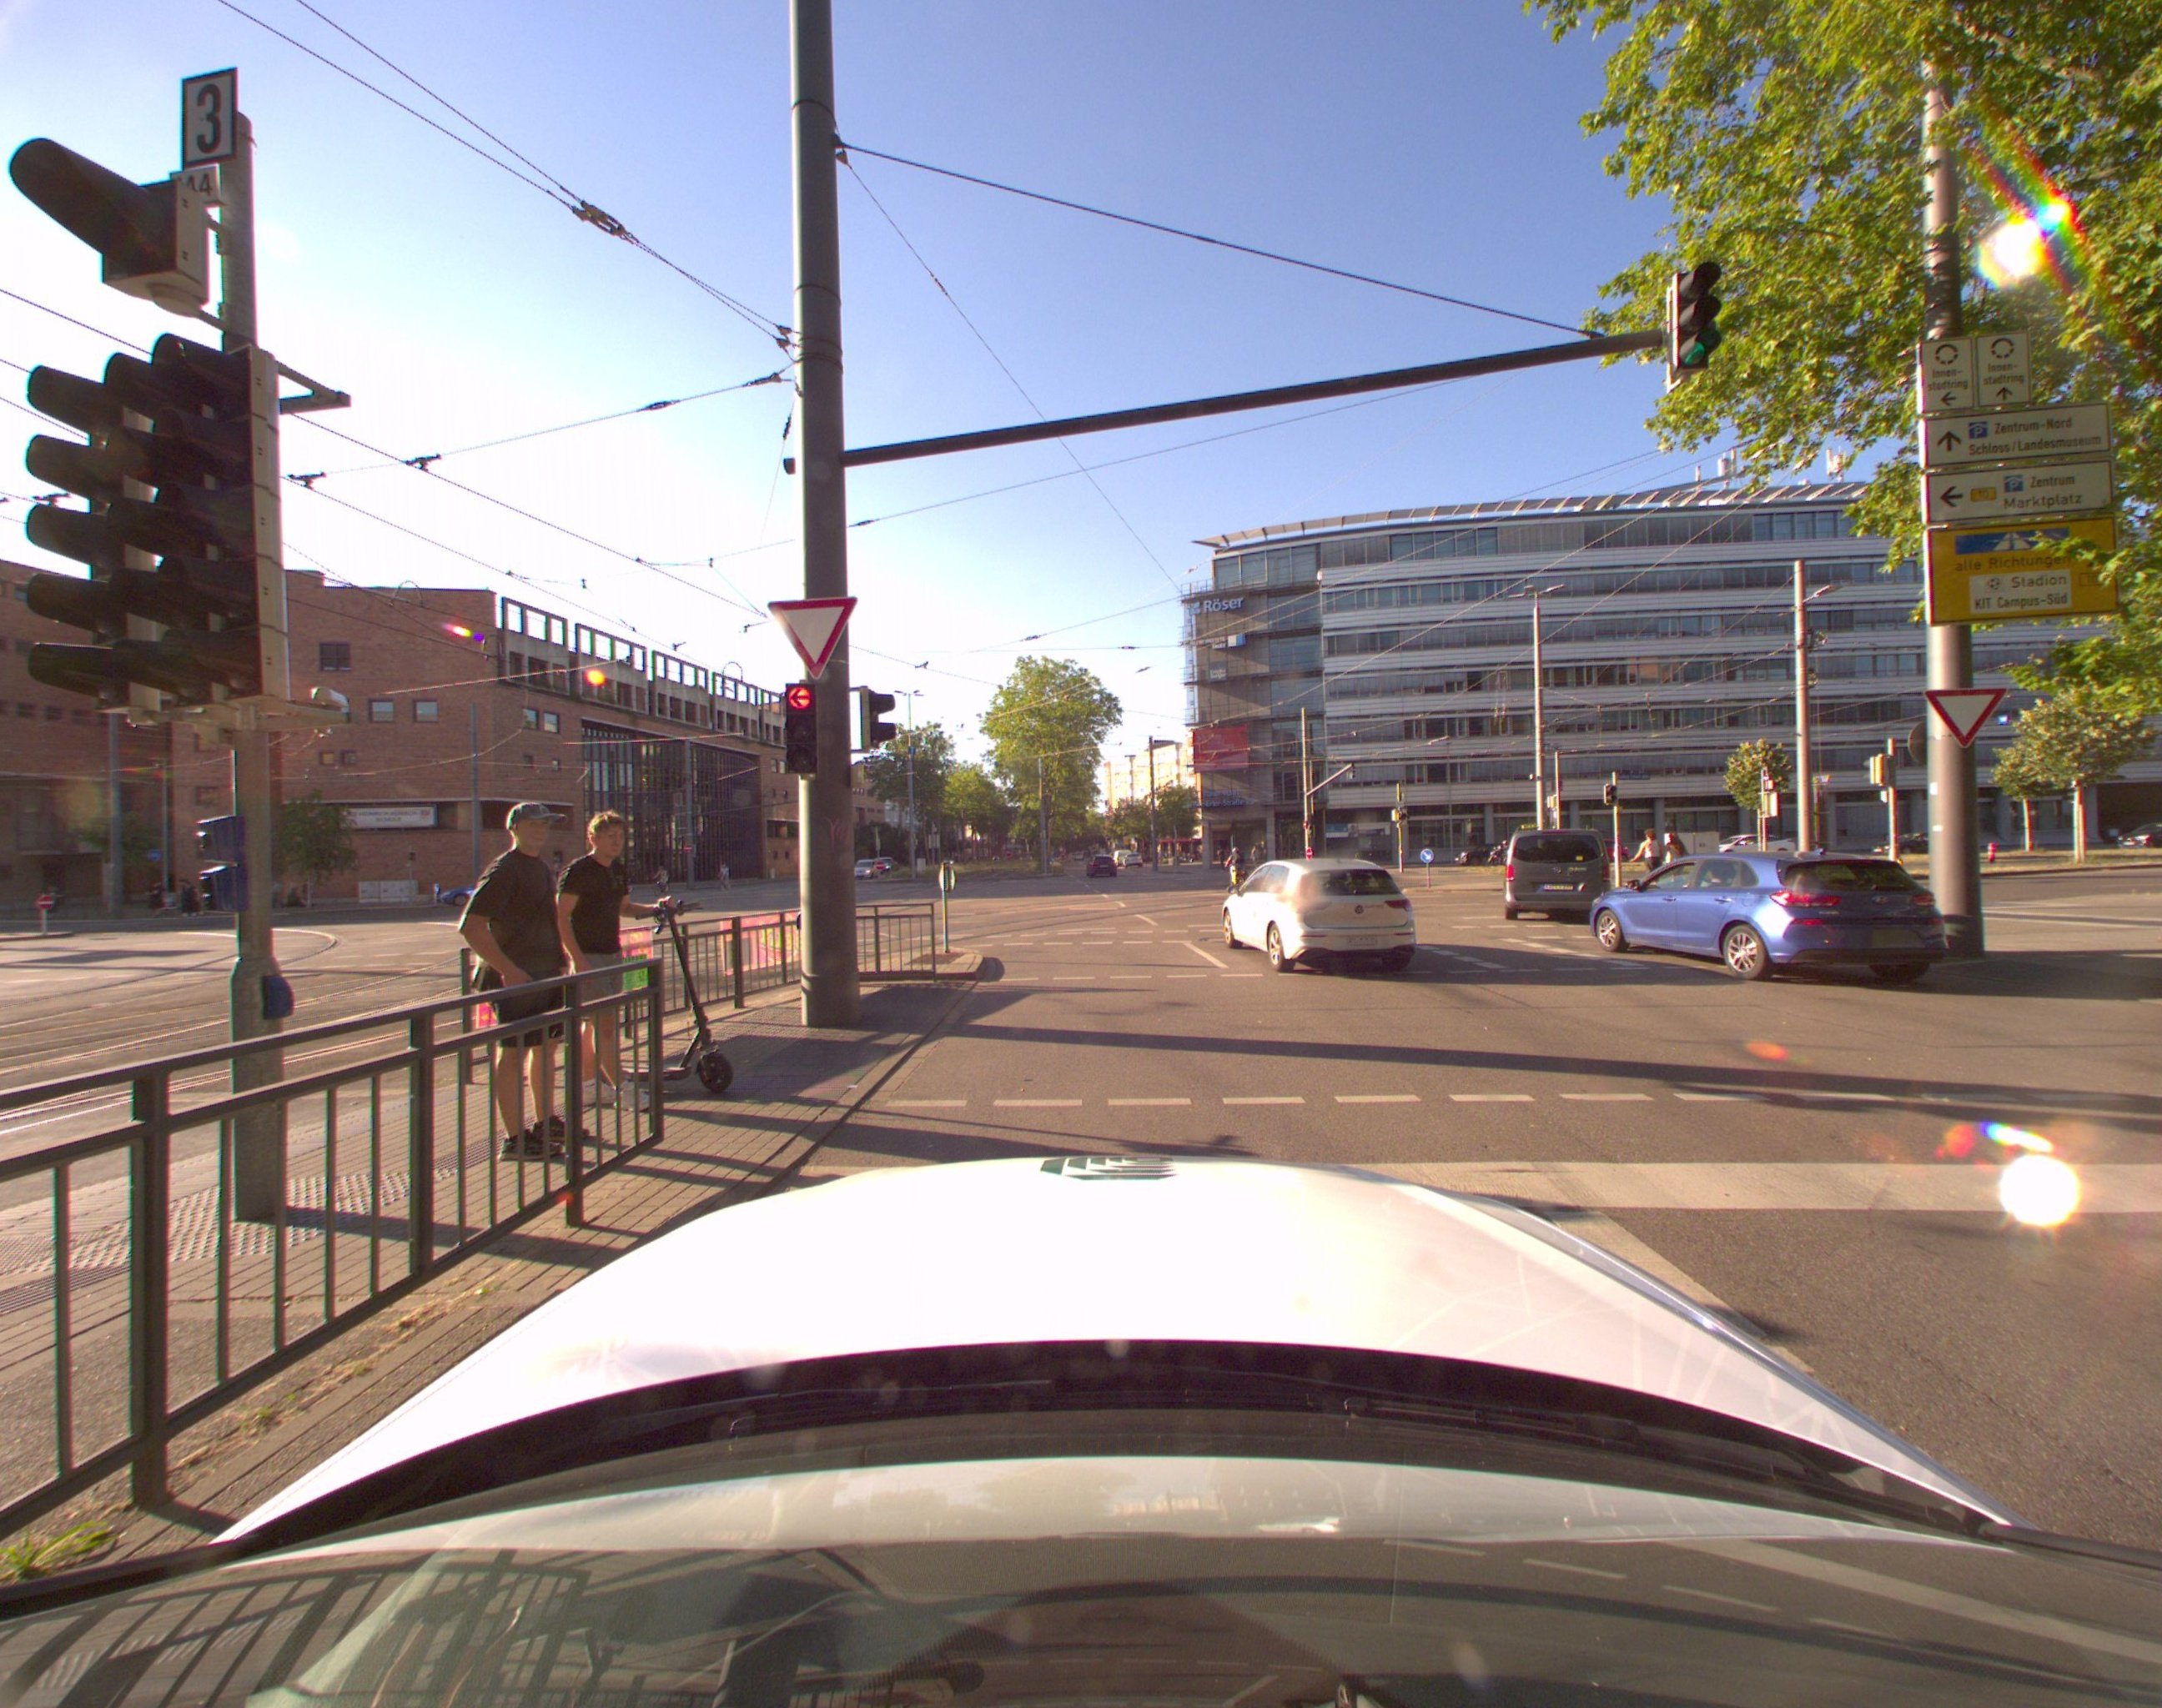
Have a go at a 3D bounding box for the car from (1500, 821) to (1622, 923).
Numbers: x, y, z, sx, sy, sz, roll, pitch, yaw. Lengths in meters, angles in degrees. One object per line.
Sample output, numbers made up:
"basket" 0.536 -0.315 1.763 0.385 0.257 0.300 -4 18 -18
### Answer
"car" 10.310 0.317 17.741 1.982 1.896 4.912 -1 0 28

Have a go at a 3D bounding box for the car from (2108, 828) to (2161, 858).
"car" 60.462 -0.600 45.288 4.097 1.596 1.884 0 -1 5

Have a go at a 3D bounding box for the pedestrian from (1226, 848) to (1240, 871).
"pedestrian" 11.483 0.410 61.532 0.866 1.707 0.794 0 -1 1

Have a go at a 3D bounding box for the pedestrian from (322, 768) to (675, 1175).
"pedestrian" -2.968 0.563 4.257 1.161 1.884 0.856 -2 0 6

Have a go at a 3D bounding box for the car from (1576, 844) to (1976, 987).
"car" 8.427 0.632 10.492 1.740 1.459 4.216 -1 0 4

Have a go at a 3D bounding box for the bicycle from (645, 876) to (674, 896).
"bicycle" -23.747 1.785 45.956 0.650 1.050 2.010 -1 0 -3

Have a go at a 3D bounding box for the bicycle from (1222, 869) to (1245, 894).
"bicycle" 5.336 0.959 28.521 0.489 0.788 1.862 -1 0 2

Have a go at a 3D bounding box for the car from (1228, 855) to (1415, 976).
"car" 3.231 0.739 11.750 1.740 1.418 4.004 -1 0 4

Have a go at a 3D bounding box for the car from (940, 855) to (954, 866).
"car" -20.296 1.046 123.320 1.673 1.607 3.994 0 -1 -4

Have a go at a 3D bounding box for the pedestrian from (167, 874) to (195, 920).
"pedestrian" -40.865 1.931 36.984 0.615 2.013 0.726 -2 0 -28

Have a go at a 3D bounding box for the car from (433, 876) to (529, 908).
"car" -31.015 1.941 42.170 1.566 1.376 3.739 -2 0 42

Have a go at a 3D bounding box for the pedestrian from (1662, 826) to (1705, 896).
"pedestrian" 15.651 0.177 21.185 0.677 1.759 0.746 -2 0 22

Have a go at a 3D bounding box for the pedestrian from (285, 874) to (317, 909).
"pedestrian" -47.267 2.241 49.362 1.003 2.052 0.850 -2 0 -1

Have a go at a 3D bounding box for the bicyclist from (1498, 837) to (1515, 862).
"bicyclist" 25.580 -0.265 48.957 0.660 1.503 0.614 -2 0 7

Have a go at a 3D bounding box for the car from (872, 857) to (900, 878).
"car" -18.004 1.204 75.316 1.819 1.790 3.994 -2 0 -4

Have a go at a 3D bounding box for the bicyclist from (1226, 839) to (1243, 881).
"bicyclist" 5.321 0.210 28.277 0.485 1.439 0.616 0 0 1

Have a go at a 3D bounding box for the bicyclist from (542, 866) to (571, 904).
"bicyclist" -22.350 1.326 34.732 0.680 1.560 0.758 -2 2 -2

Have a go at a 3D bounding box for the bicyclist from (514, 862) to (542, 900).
"bicyclist" -23.288 1.121 34.308 0.660 1.574 0.756 -2 0 -10

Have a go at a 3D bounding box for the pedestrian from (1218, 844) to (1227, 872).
"pedestrian" 10.447 0.306 60.171 0.584 2.014 0.620 0 -1 2

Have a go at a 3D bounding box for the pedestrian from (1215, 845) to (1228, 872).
"pedestrian" 10.553 0.312 61.134 0.846 2.014 0.708 0 -1 1

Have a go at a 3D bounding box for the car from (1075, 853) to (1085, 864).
"car" -0.227 0.889 174.407 1.985 2.014 4.001 0 -5 3

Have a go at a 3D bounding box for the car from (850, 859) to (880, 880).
"car" -17.975 1.253 67.854 1.618 1.577 3.994 -2 0 -4

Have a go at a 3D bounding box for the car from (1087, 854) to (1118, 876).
"car" 1.356 0.693 53.369 1.759 1.404 4.293 -1 0 -2

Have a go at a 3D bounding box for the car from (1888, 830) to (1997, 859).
"car" 49.507 -0.516 46.872 4.097 1.596 1.884 0 -1 5

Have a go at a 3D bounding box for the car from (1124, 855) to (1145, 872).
"car" 5.400 0.959 82.802 2.022 1.596 4.001 0 -1 2

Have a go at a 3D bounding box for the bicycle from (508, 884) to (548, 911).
"bicycle" -23.261 1.818 34.289 0.653 0.998 1.895 -2 0 -10

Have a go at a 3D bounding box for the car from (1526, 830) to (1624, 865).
"car" 27.270 -0.356 45.075 4.234 1.723 1.886 -2 0 4

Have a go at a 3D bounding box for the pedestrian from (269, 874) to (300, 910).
"pedestrian" -48.174 2.287 49.266 1.003 2.052 0.850 -2 0 -1

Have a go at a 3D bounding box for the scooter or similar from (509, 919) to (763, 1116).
"scooter or similar" -2.749 0.990 5.104 1.196 1.081 0.649 -2 0 5

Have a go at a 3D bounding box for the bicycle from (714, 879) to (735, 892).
"bicycle" -23.674 2.107 54.133 0.588 0.771 1.966 -2 0 -2

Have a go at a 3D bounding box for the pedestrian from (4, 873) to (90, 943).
"pedestrian" -30.997 1.596 24.436 1.029 2.014 1.208 0 -1 1

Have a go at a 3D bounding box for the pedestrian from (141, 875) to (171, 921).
"pedestrian" -41.514 1.963 36.564 0.615 2.013 0.726 -2 0 -28

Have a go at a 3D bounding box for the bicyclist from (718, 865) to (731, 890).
"bicyclist" -23.689 1.558 54.114 0.585 1.625 0.514 -2 0 -3

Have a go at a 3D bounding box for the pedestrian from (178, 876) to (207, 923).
"pedestrian" -39.083 1.983 35.813 0.615 2.013 0.726 -2 0 -29

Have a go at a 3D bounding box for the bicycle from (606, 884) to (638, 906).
"bicycle" -23.644 2.108 41.982 0.692 0.998 1.898 -2 0 -5

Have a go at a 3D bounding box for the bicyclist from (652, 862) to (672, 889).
"bicyclist" -23.780 1.217 46.242 0.652 1.474 1.031 -1 -1 -3

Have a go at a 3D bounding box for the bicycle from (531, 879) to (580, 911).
"bicycle" -22.334 1.738 34.670 0.683 1.142 2.110 -2 2 -1

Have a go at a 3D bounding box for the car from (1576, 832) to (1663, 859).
"car" 32.053 -0.498 48.548 3.966 1.552 1.800 0 -1 6

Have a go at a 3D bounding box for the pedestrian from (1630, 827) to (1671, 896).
"pedestrian" 14.981 0.193 21.447 0.671 1.759 0.746 -2 0 22

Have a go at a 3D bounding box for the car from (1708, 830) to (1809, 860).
"car" 37.563 -0.477 45.255 3.968 1.596 1.884 0 -1 5

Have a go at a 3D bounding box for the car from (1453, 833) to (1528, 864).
"car" 27.157 -0.331 54.107 3.972 2.014 2.001 0 -1 2

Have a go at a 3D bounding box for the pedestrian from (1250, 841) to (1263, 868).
"pedestrian" 13.026 0.048 60.461 0.866 2.014 0.794 0 -1 1

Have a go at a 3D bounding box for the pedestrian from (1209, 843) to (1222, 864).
"pedestrian" 14.334 -0.035 87.068 1.305 2.190 1.173 0 -1 8

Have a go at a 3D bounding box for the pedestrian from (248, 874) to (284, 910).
"pedestrian" -47.912 2.228 47.892 1.155 2.013 0.910 -2 0 -2

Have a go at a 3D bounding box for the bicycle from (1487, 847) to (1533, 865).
"bicycle" 25.771 0.126 48.943 2.397 1.022 0.638 -2 0 6

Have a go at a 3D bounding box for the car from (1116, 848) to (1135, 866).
"car" 4.858 0.338 89.644 1.986 2.014 4.001 0 -1 2

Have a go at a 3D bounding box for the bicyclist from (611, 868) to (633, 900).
"bicyclist" -23.689 1.549 42.054 0.660 1.569 0.757 -2 0 -6

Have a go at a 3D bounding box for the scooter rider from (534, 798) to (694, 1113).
"scooter rider" -2.937 0.610 5.169 0.563 1.853 0.681 -2 -2 6
